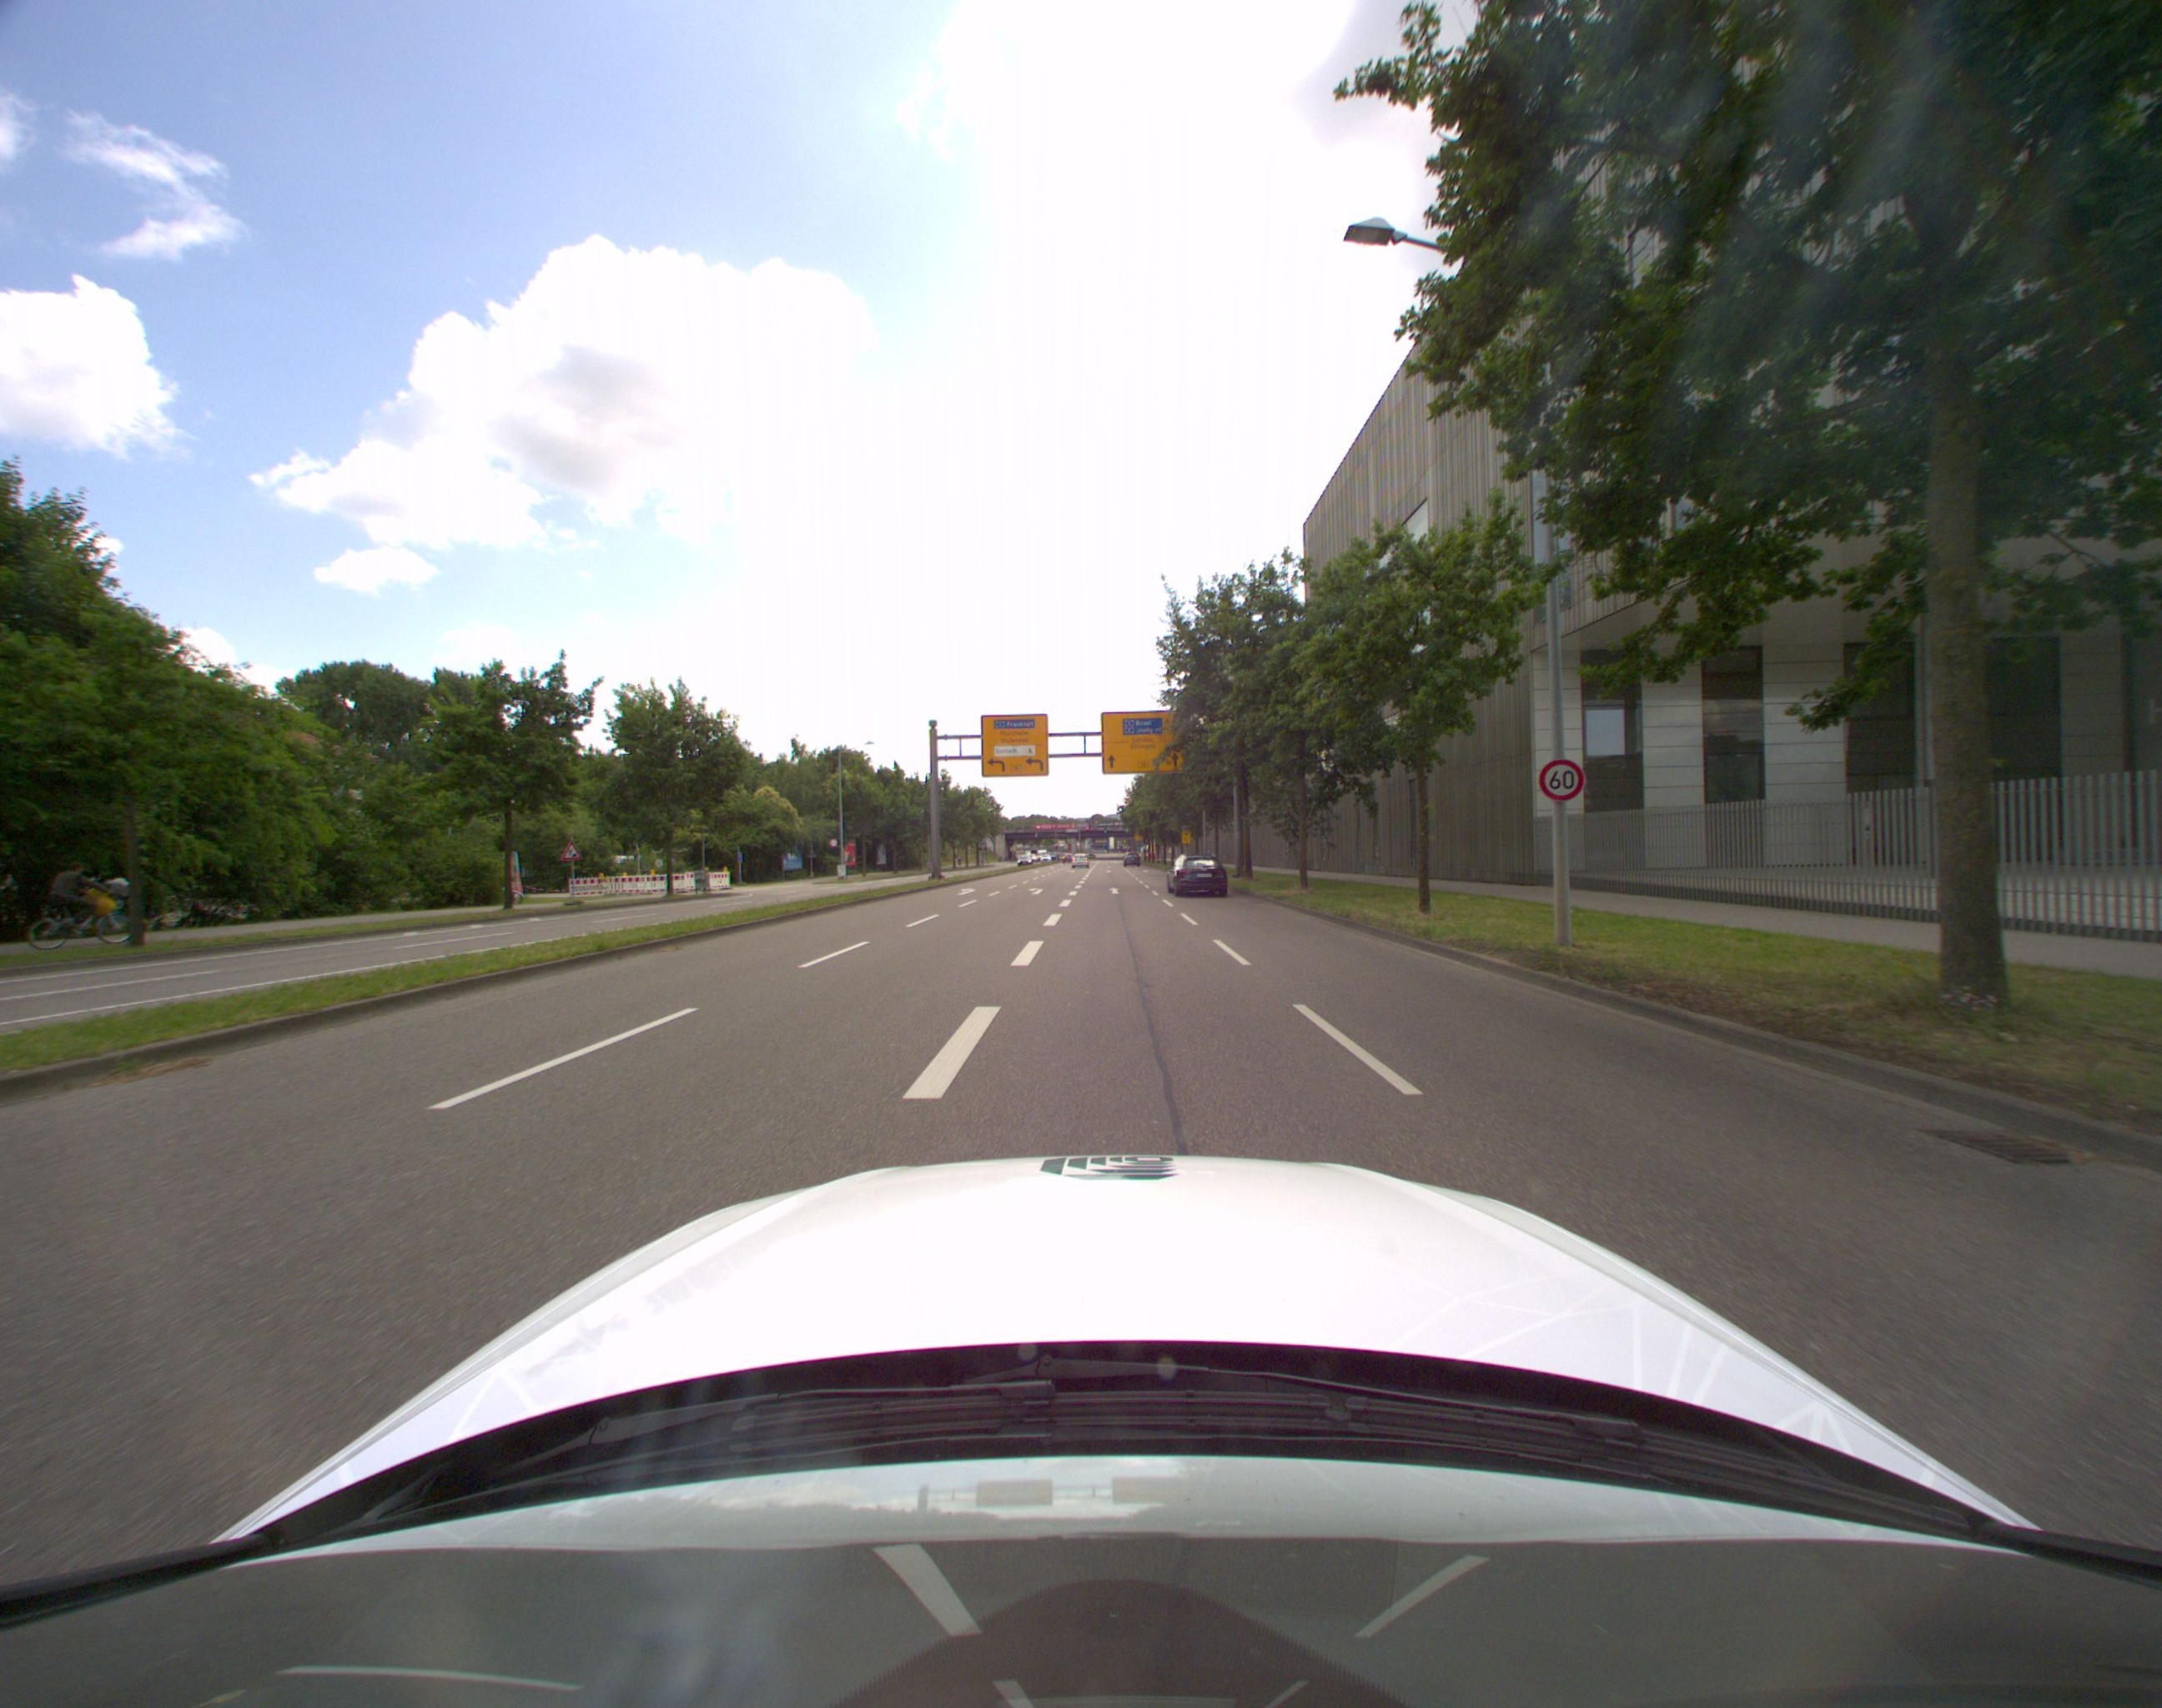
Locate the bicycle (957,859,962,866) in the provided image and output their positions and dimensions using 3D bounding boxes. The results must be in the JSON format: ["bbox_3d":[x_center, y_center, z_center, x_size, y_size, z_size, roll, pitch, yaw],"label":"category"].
[{"bbox_3d":[-19.282,1.307,129.285,0.458,1.090,1.474,0,-1,1],"label":"bicycle"}]

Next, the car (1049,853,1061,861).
[{"bbox_3d":[-5.352,0.669,168.911,1.984,1.717,4.004,0,-1,4],"label":"car"}]

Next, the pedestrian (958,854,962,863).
[{"bbox_3d":[-19.287,0.764,129.338,0.556,1.400,0.563,0,-1,0],"label":"pedestrian"}]

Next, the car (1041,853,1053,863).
[{"bbox_3d":[-6.323,0.787,151.048,1.986,1.717,4.001,0,-1,1],"label":"car"}]

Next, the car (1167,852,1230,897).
[{"bbox_3d":[4.071,0.681,28.710,1.678,1.463,4.000,0,0,0],"label":"car"}]

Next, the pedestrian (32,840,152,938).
[{"bbox_3d":[-21.302,0.725,17.575,0.966,2.013,1.250,-2,0,2],"label":"pedestrian"}]

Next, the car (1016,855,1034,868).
[{"bbox_3d":[-7.508,0.976,109.373,1.985,1.618,4.003,-2,0,3],"label":"car"}]

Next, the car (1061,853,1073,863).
[{"bbox_3d":[-2.108,0.582,125.012,1.769,1.463,3.998,0,0,-1],"label":"car"}]

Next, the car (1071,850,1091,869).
[{"bbox_3d":[-0.036,0.564,85.713,1.988,2.013,3.998,0,0,-1],"label":"car"}]

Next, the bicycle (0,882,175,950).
[{"bbox_3d":[-21.151,1.281,17.354,0.804,1.226,2.503,-2,0,2],"label":"bicycle"}]

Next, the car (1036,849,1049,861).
[{"bbox_3d":[-8.343,0.270,177.155,1.984,2.640,5.242,0,-1,4],"label":"car"}]

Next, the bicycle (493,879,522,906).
[{"bbox_3d":[-24.540,1.633,34.834,0.888,1.059,2.337,-2,0,-38],"label":"bicycle"}]

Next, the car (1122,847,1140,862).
[{"bbox_3d":[5.885,0.019,95.154,1.985,1.626,4.314,-3,1,3],"label":"car"}]
